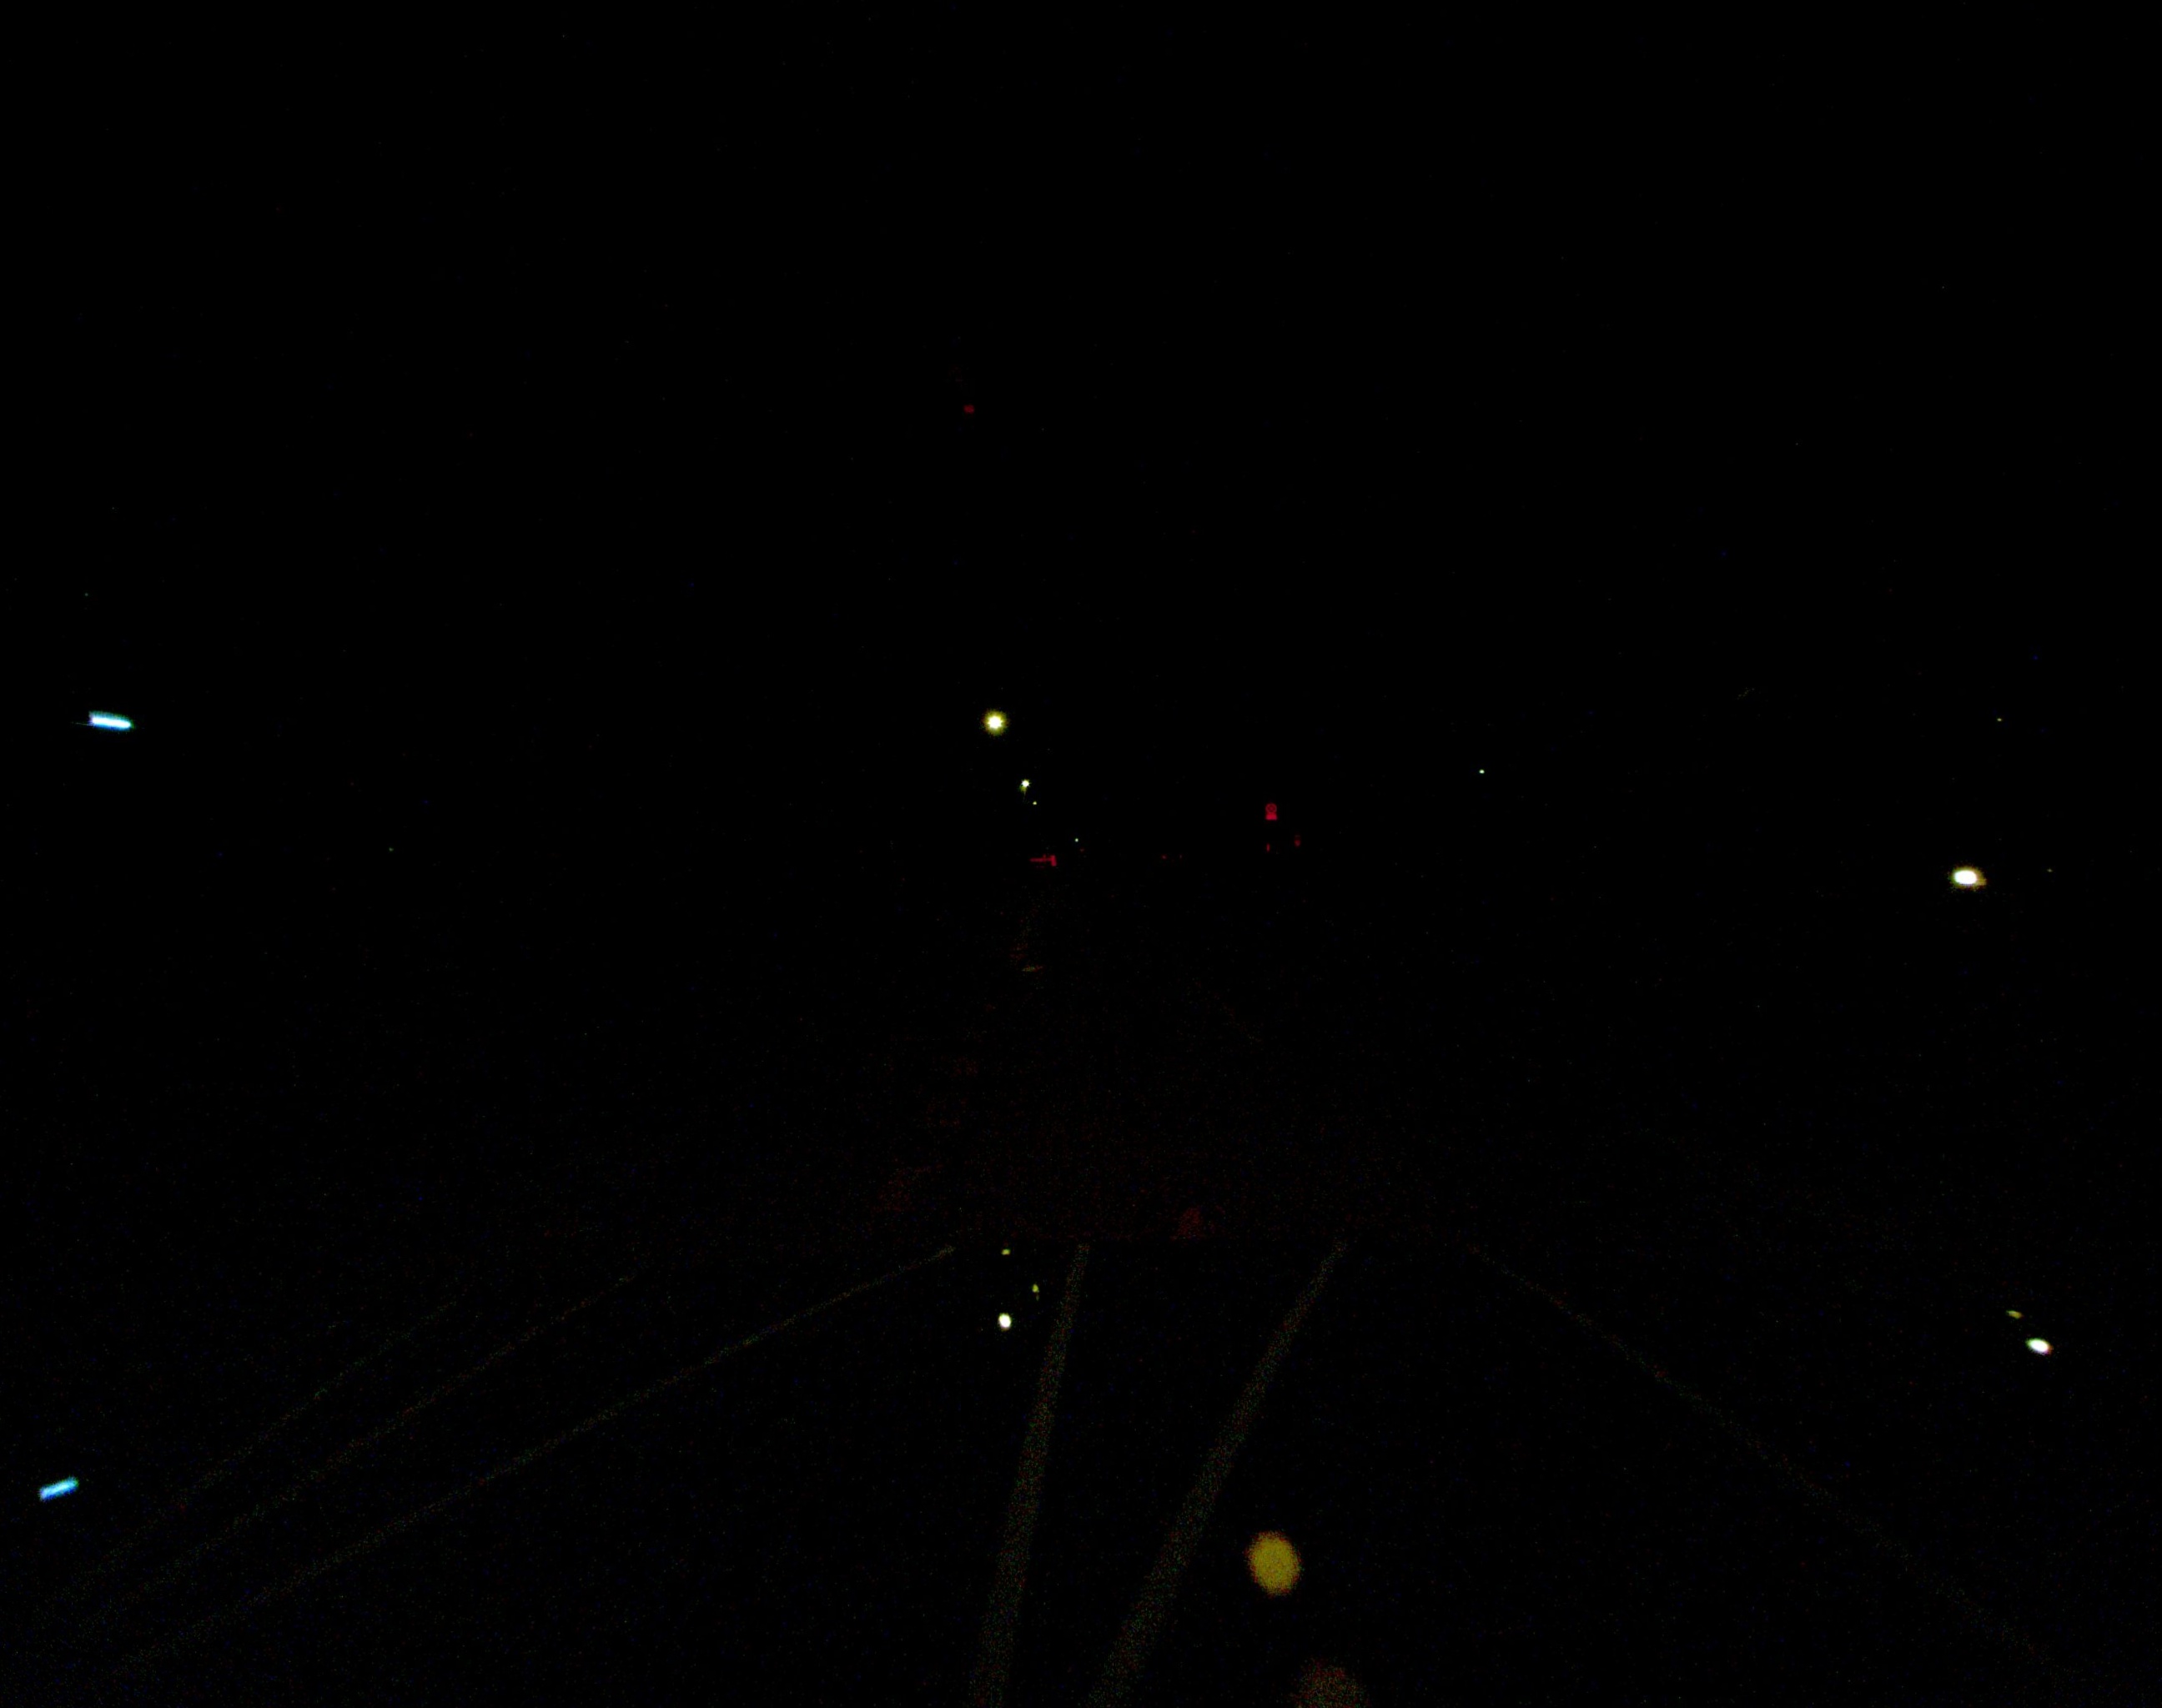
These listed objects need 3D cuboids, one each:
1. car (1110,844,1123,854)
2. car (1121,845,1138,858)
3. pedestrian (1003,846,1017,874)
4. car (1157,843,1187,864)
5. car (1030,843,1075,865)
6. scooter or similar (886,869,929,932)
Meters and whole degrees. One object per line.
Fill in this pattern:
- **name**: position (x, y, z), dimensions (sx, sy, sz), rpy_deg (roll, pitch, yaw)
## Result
- **car**: position (5.517, -0.780, 118.456), dimensions (1.911, 1.445, 3.999), rpy_deg (-3, 2, 1)
- **car**: position (6.388, -0.384, 100.463), dimensions (1.911, 1.445, 3.999), rpy_deg (-3, 2, 1)
- **pedestrian**: position (-4.812, 0.408, 51.481), dimensions (0.824, 1.809, 0.608), rpy_deg (-3, 2, 1)
- **car**: position (7.243, -0.038, 61.012), dimensions (1.911, 1.445, 3.999), rpy_deg (-3, 2, 1)
- **car**: position (-2.590, 0.011, 70.727), dimensions (3.997, 1.821, 1.912), rpy_deg (-3, 2, 0)
- **scooter or similar**: position (-3.687, 0.964, 16.237), dimensions (0.570, 1.271, 1.391), rpy_deg (0, 0, 0)
